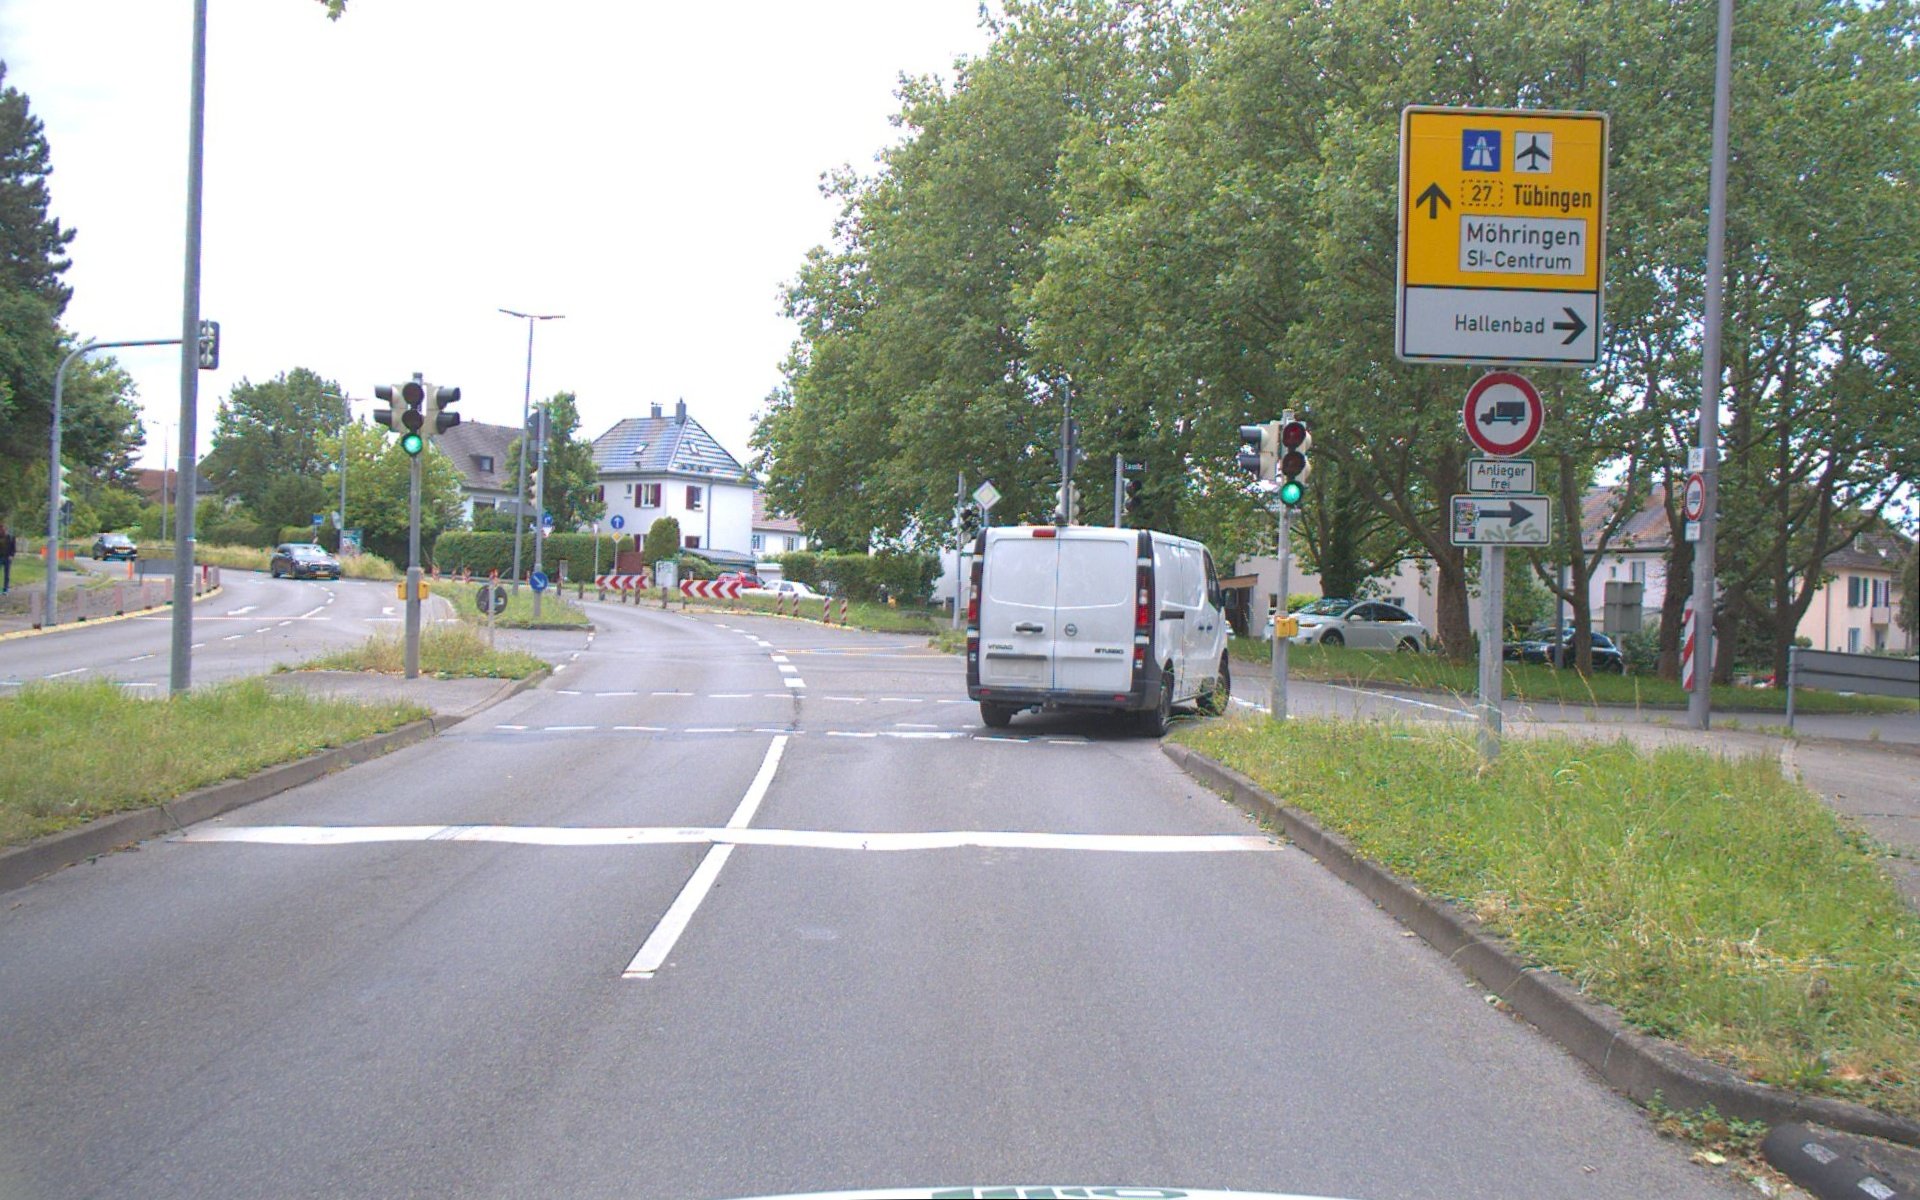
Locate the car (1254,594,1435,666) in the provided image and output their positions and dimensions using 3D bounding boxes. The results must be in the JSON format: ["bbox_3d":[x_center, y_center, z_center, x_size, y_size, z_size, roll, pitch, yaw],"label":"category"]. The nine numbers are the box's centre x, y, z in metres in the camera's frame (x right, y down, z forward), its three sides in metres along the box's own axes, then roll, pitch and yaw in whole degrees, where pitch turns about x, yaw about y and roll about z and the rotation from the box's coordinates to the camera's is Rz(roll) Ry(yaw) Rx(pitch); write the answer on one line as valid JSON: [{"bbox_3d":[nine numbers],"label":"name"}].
[{"bbox_3d":[10.014,0.800,42.930,4.851,1.687,1.834,2,0,-36],"label":"car"}]

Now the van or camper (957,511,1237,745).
[{"bbox_3d":[1.612,0.247,17.409,1.884,2.048,4.832,2,0,17],"label":"van or camper"}]

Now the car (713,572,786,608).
[{"bbox_3d":[-10.722,-0.508,84.590,1.576,1.543,3.815,4,-1,32],"label":"car"}]

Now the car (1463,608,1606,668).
[{"bbox_3d":[17.284,1.145,49.662,4.561,1.619,1.741,2,0,-36],"label":"car"}]

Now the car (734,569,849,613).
[{"bbox_3d":[-7.848,-0.413,77.060,4.770,1.822,2.215,3,0,24],"label":"car"}]

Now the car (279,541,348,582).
[{"bbox_3d":[-27.801,-1.662,71.062,1.825,1.660,4.209,0,2,-35],"label":"car"}]

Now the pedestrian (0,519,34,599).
[{"bbox_3d":[-25.059,-1.085,43.656,0.938,2.048,0.848,2,0,-26],"label":"pedestrian"}]
